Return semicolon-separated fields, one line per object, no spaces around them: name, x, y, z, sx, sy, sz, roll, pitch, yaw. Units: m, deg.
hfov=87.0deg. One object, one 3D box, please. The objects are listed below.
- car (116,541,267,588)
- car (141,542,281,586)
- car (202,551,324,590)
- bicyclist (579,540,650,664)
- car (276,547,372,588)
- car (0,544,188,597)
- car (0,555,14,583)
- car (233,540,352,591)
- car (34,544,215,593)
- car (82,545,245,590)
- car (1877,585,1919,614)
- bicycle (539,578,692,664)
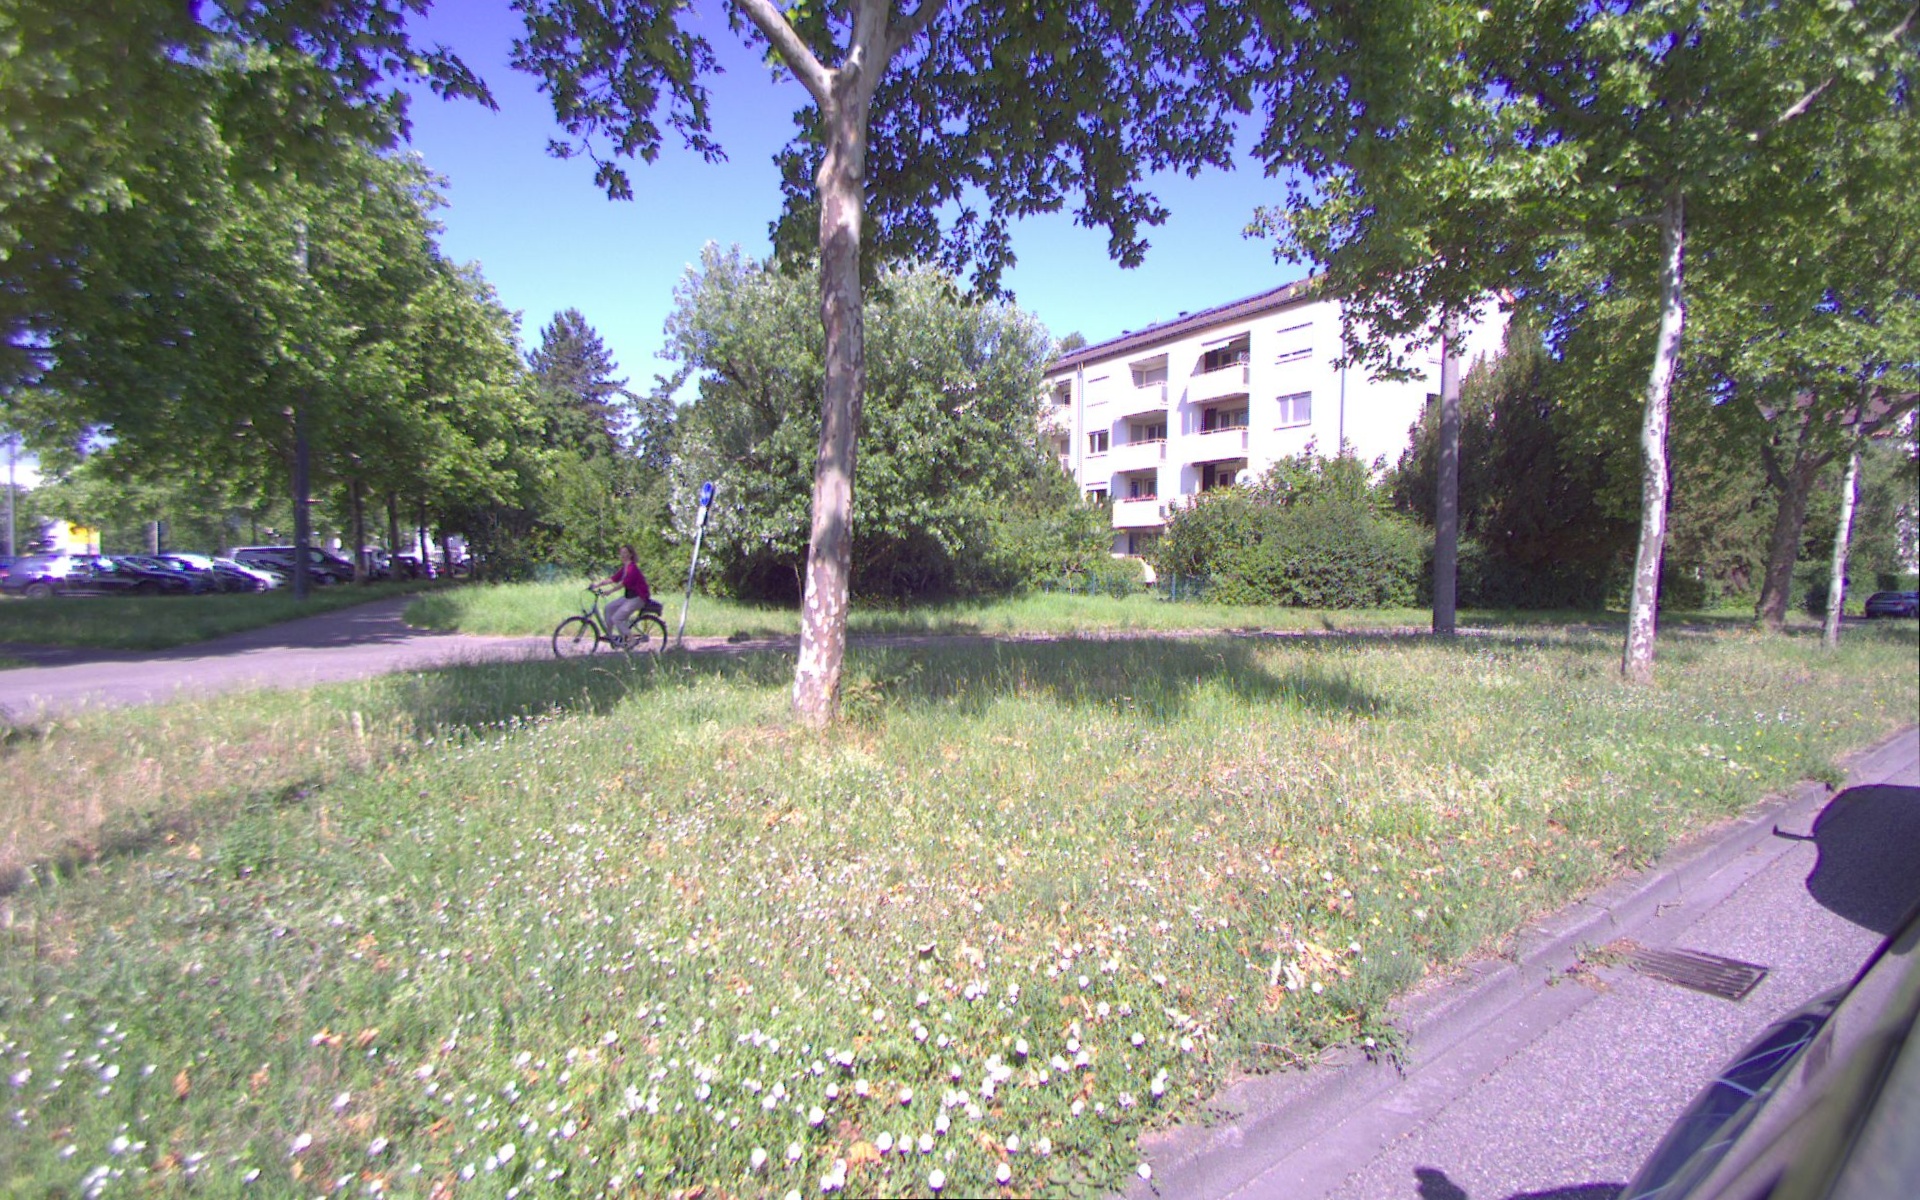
car;-28.767;-1.298;38.066;4.267;1.653;2.002;0;0;-29
car;-29.766;-1.409;40.382;4.267;1.653;2.003;0;2;-29
car;-30.925;-1.318;45.065;4.267;1.653;2.003;0;2;-29
bicyclist;-5.216;0.017;15.290;0.796;1.809;0.701;0;2;-42
car;-35.835;-1.826;57.154;4.497;2.236;2.003;0;2;-29
car;-26.210;-0.896;30.605;4.267;1.509;2.003;-1;2;-29
car;-64.658;-2.043;66.190;1.991;1.816;3.941;0;0;41
car;-32.204;-1.652;48.982;4.494;2.318;2.004;0;2;-24
car;-27.070;-0.999;32.999;4.267;1.509;2.003;0;2;-29
car;-27.998;-1.124;35.771;4.267;1.509;2.003;0;2;-29
car;47.692;-0.028;50.423;4.004;1.389;1.510;0;2;-25
bicycle;-5.184;0.286;15.312;2.088;1.200;0.692;-1;2;-41
